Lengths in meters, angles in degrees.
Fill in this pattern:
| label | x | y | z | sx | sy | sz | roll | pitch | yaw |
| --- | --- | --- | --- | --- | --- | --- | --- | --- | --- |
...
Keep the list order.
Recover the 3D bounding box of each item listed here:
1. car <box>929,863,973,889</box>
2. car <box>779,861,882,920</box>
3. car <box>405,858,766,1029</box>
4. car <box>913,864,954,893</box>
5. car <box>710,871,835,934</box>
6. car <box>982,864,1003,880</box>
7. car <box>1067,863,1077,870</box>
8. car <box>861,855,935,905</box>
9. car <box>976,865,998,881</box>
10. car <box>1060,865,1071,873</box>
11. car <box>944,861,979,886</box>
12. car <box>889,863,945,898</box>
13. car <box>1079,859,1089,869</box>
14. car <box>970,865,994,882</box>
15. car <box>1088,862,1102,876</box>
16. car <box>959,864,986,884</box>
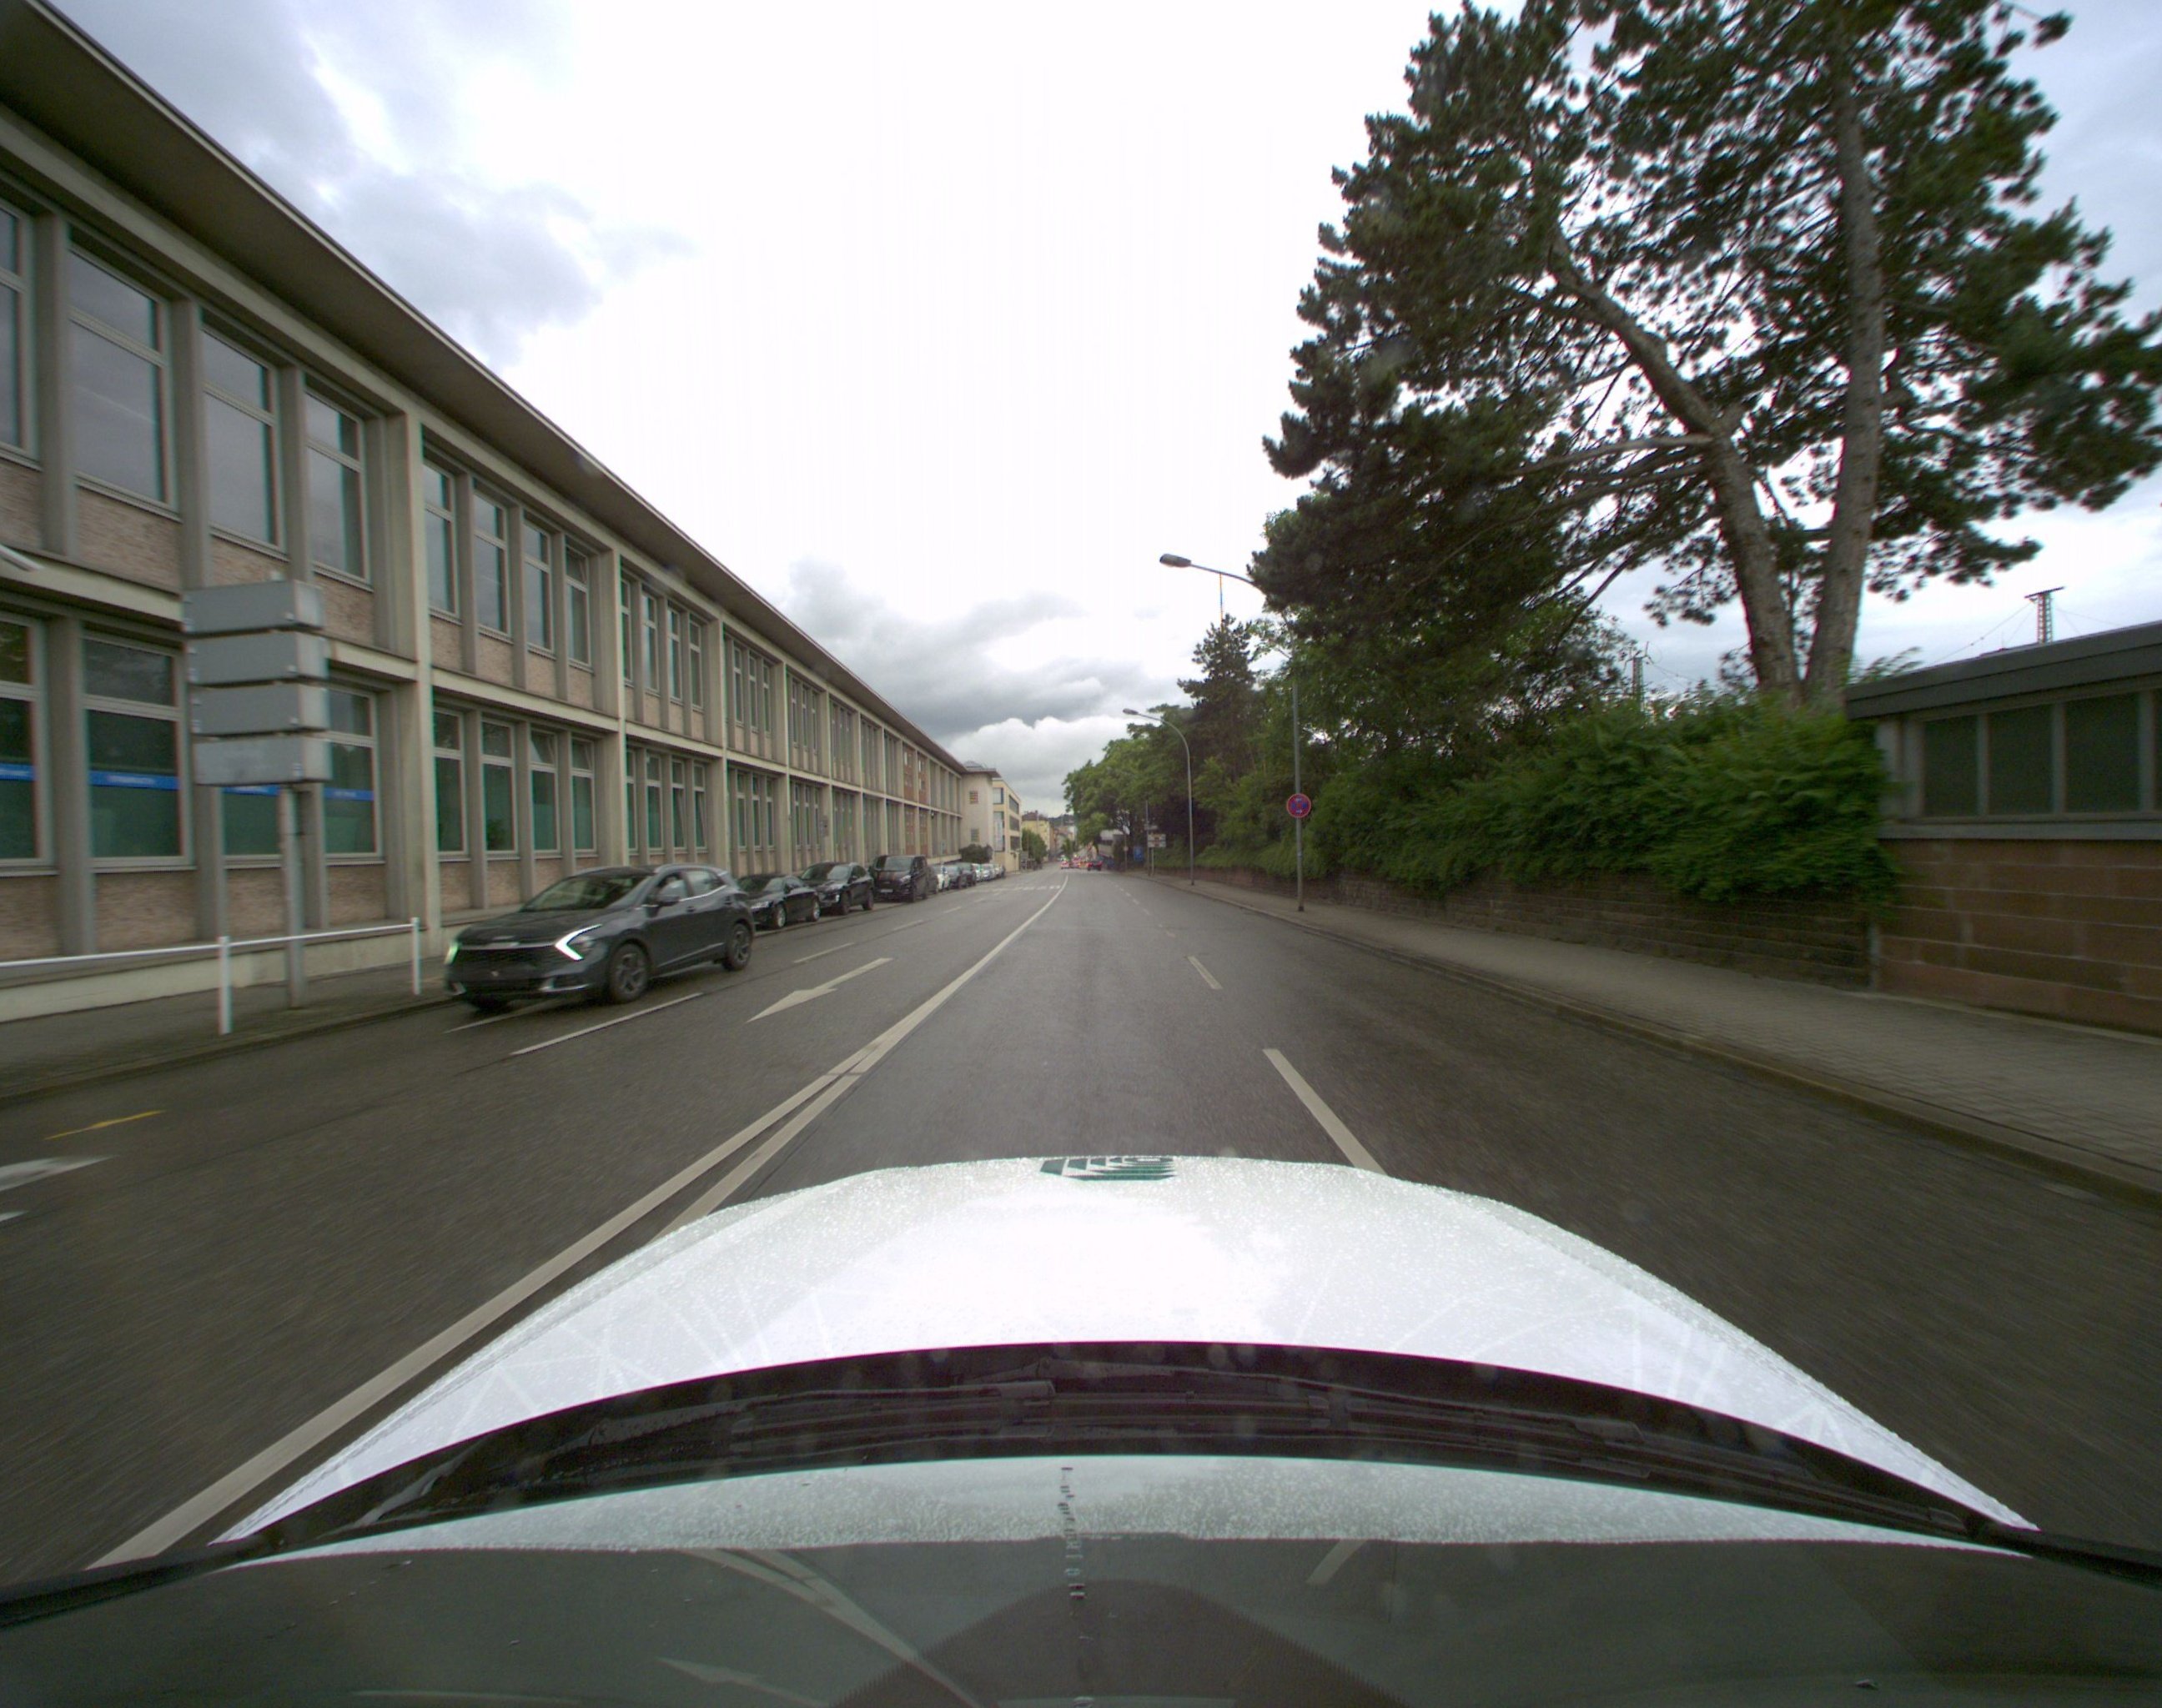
| label | x | y | z | sx | sy | sz | roll | pitch | yaw |
| --- | --- | --- | --- | --- | --- | --- | --- | --- | --- |
| car | -8.079 | 1.348 | 51.023 | 1.809 | 1.484 | 4.909 | -2 | 0 | 1 |
| car | -8.040 | 1.120 | 26.596 | 1.790 | 1.675 | 4.605 | -2 | 0 | 2 |
| car | -6.073 | 0.959 | 10.754 | 1.813 | 1.660 | 4.342 | -3 | 0 | 4 |
| car | -8.207 | 1.349 | 45.556 | 1.561 | 1.484 | 3.553 | -2 | 0 | 1 |
| car | -7.994 | 1.205 | 21.506 | 1.536 | 1.353 | 4.113 | -2 | 0 | 3 |
| car | -8.904 | 1.786 | 82.075 | 1.743 | 1.598 | 4.179 | 0 | -1 | -1 |
| car | -2.218 | 2.908 | 191.819 | 1.991 | 1.680 | 3.992 | -1 | -1 | -6 |
| car | -7.803 | 1.033 | 35.245 | 1.942 | 1.944 | 4.996 | -2 | 0 | 1 |
| car | -8.836 | 1.778 | 76.761 | 1.743 | 1.454 | 4.177 | 0 | -1 | -2 |
| car | -3.487 | 3.330 | 181.501 | 1.991 | 1.680 | 3.992 | -1 | 0 | -6 |
| car | -8.282 | 1.365 | 56.810 | 1.836 | 1.653 | 4.512 | 0 | -1 | -2 |
| car | -8.136 | 1.302 | 40.836 | 1.854 | 1.552 | 4.313 | -2 | 0 | 1 |
| car | 0.617 | 1.951 | 164.699 | 1.987 | 1.837 | 4.000 | -4 | 0 | 0 |
| car | -8.651 | 1.726 | 71.303 | 1.743 | 1.435 | 4.482 | 0 | -1 | -2 |
| car | 2.193 | 2.425 | 130.395 | 2.085 | 1.910 | 4.099 | -3 | 1 | 0 |
| car | -8.772 | 1.628 | 66.078 | 1.674 | 1.522 | 3.919 | -1 | -1 | -1 |
